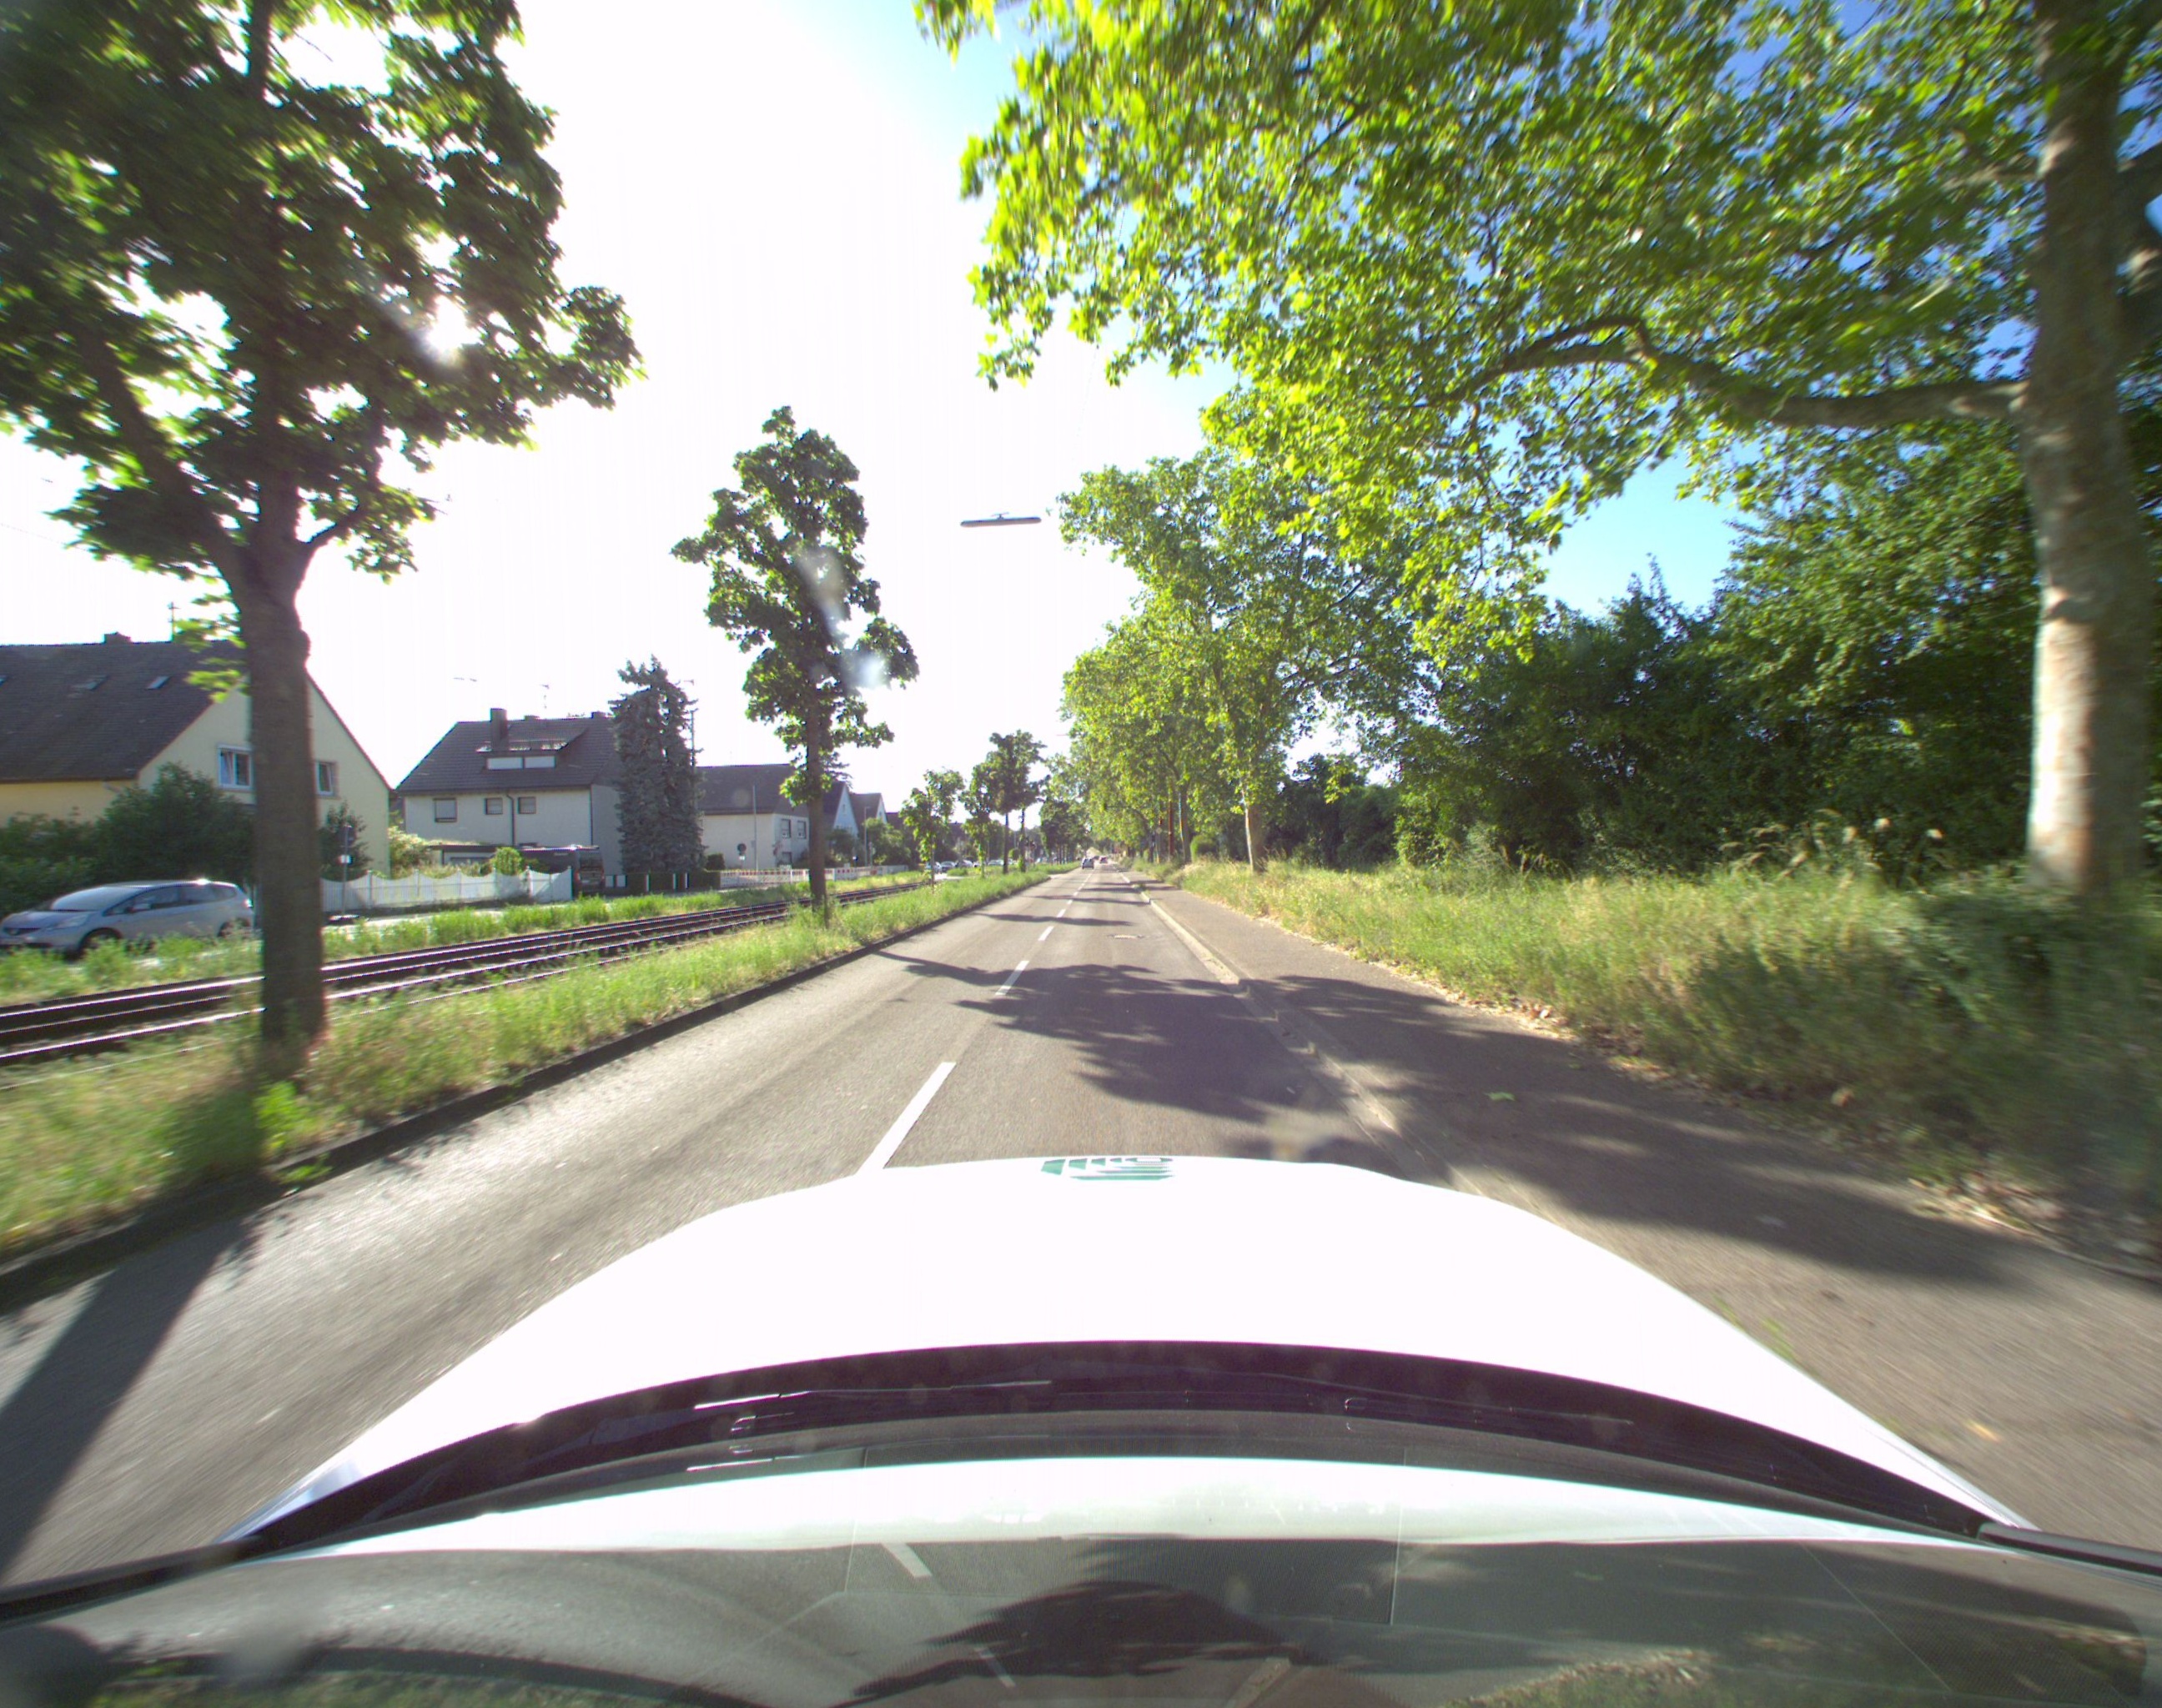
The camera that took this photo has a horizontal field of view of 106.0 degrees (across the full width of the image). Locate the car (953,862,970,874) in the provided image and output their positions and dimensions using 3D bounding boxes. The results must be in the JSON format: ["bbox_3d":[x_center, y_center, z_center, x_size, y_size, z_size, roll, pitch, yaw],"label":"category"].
[{"bbox_3d":[-17.751,2.083,121.528,1.741,1.651,4.556,0,-1,1],"label":"car"}]

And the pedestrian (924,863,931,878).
[{"bbox_3d":[-20.762,2.224,110.111,0.678,2.014,0.772,0,-1,1],"label":"pedestrian"}]

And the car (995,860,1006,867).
[{"bbox_3d":[-16.764,2.028,169.369,1.853,1.431,4.462,0,-1,1],"label":"car"}]

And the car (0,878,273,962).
[{"bbox_3d":[-20.649,1.329,17.757,1.939,1.553,4.057,0,-1,1],"label":"car"}]

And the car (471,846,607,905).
[{"bbox_3d":[-25.816,0.983,38.916,5.010,2.625,2.103,-1,0,1],"label":"car"}]

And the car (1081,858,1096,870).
[{"bbox_3d":[1.016,1.293,108.043,1.853,1.601,4.228,0,-1,1],"label":"car"}]

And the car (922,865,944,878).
[{"bbox_3d":[-18.454,2.138,101.533,1.853,1.542,4.228,0,-1,1],"label":"car"}]

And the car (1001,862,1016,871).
[{"bbox_3d":[-12.566,2.212,141.553,1.986,1.603,4.474,0,-1,1],"label":"car"}]

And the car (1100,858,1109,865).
[{"bbox_3d":[5.156,1.758,182.518,1.986,1.603,4.474,0,-1,1],"label":"car"}]

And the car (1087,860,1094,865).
[{"bbox_3d":[2.797,2.412,235.373,1.986,1.603,4.474,0,-1,1],"label":"car"}]

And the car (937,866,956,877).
[{"bbox_3d":[-18.210,2.306,110.398,1.723,1.466,4.603,0,-1,1],"label":"car"}]

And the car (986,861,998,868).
[{"bbox_3d":[-17.410,2.083,159.492,1.853,1.413,4.159,0,-1,1],"label":"car"}]

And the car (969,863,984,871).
[{"bbox_3d":[-18.040,2.227,140.840,1.853,1.370,4.228,0,-1,1],"label":"car"}]

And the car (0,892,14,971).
[{"bbox_3d":[-20.791,1.368,12.977,1.986,1.450,4.129,2,-1,1],"label":"car"}]
